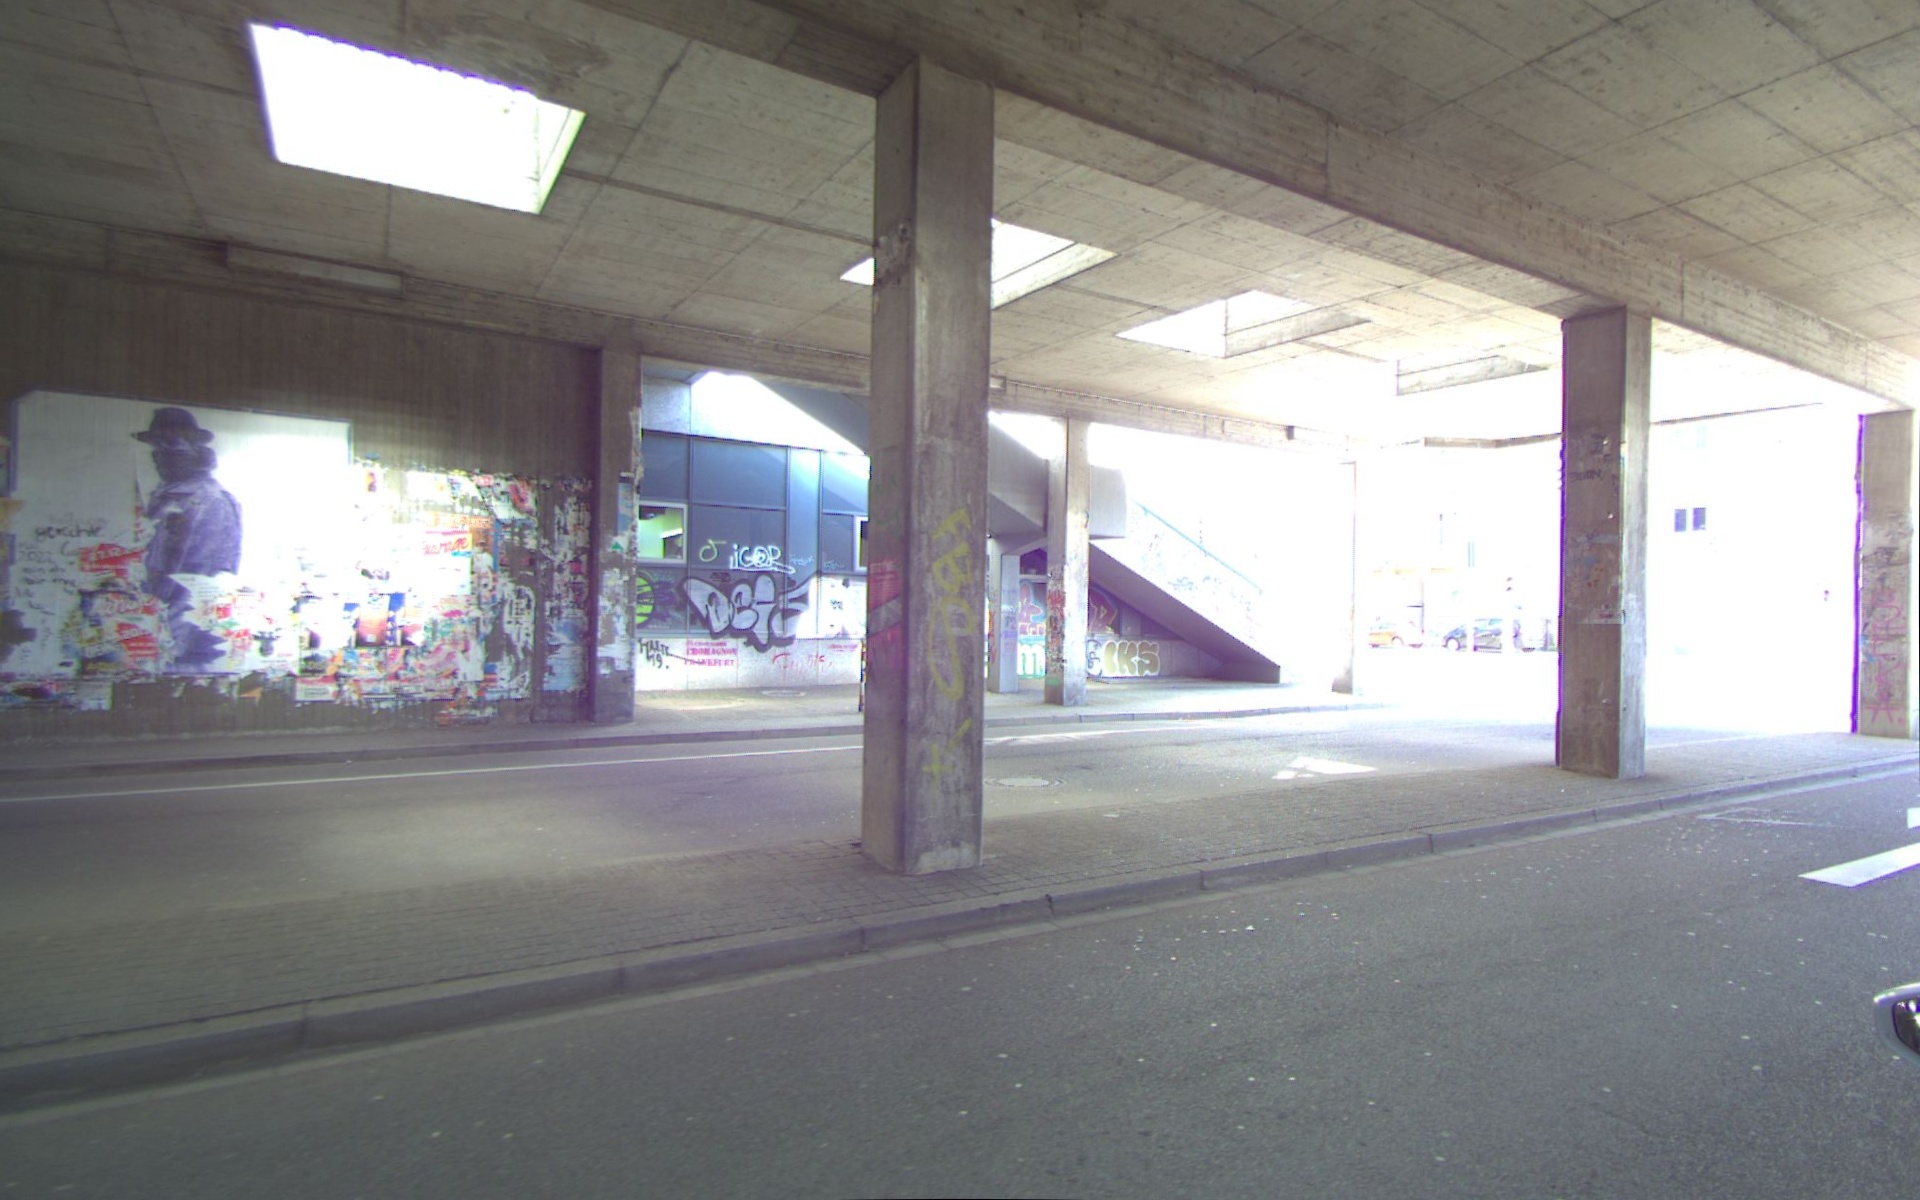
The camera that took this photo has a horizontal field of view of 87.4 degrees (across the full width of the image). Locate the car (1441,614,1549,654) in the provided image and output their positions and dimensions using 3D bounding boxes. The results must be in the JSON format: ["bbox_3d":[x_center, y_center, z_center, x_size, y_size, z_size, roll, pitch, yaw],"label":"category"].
[{"bbox_3d":[25.190,1.567,47.447,1.939,1.747,4.142,0,0,-29],"label":"car"}]

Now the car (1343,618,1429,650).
[{"bbox_3d":[22.195,1.755,52.473,1.876,1.561,3.861,0,0,-29],"label":"car"}]
